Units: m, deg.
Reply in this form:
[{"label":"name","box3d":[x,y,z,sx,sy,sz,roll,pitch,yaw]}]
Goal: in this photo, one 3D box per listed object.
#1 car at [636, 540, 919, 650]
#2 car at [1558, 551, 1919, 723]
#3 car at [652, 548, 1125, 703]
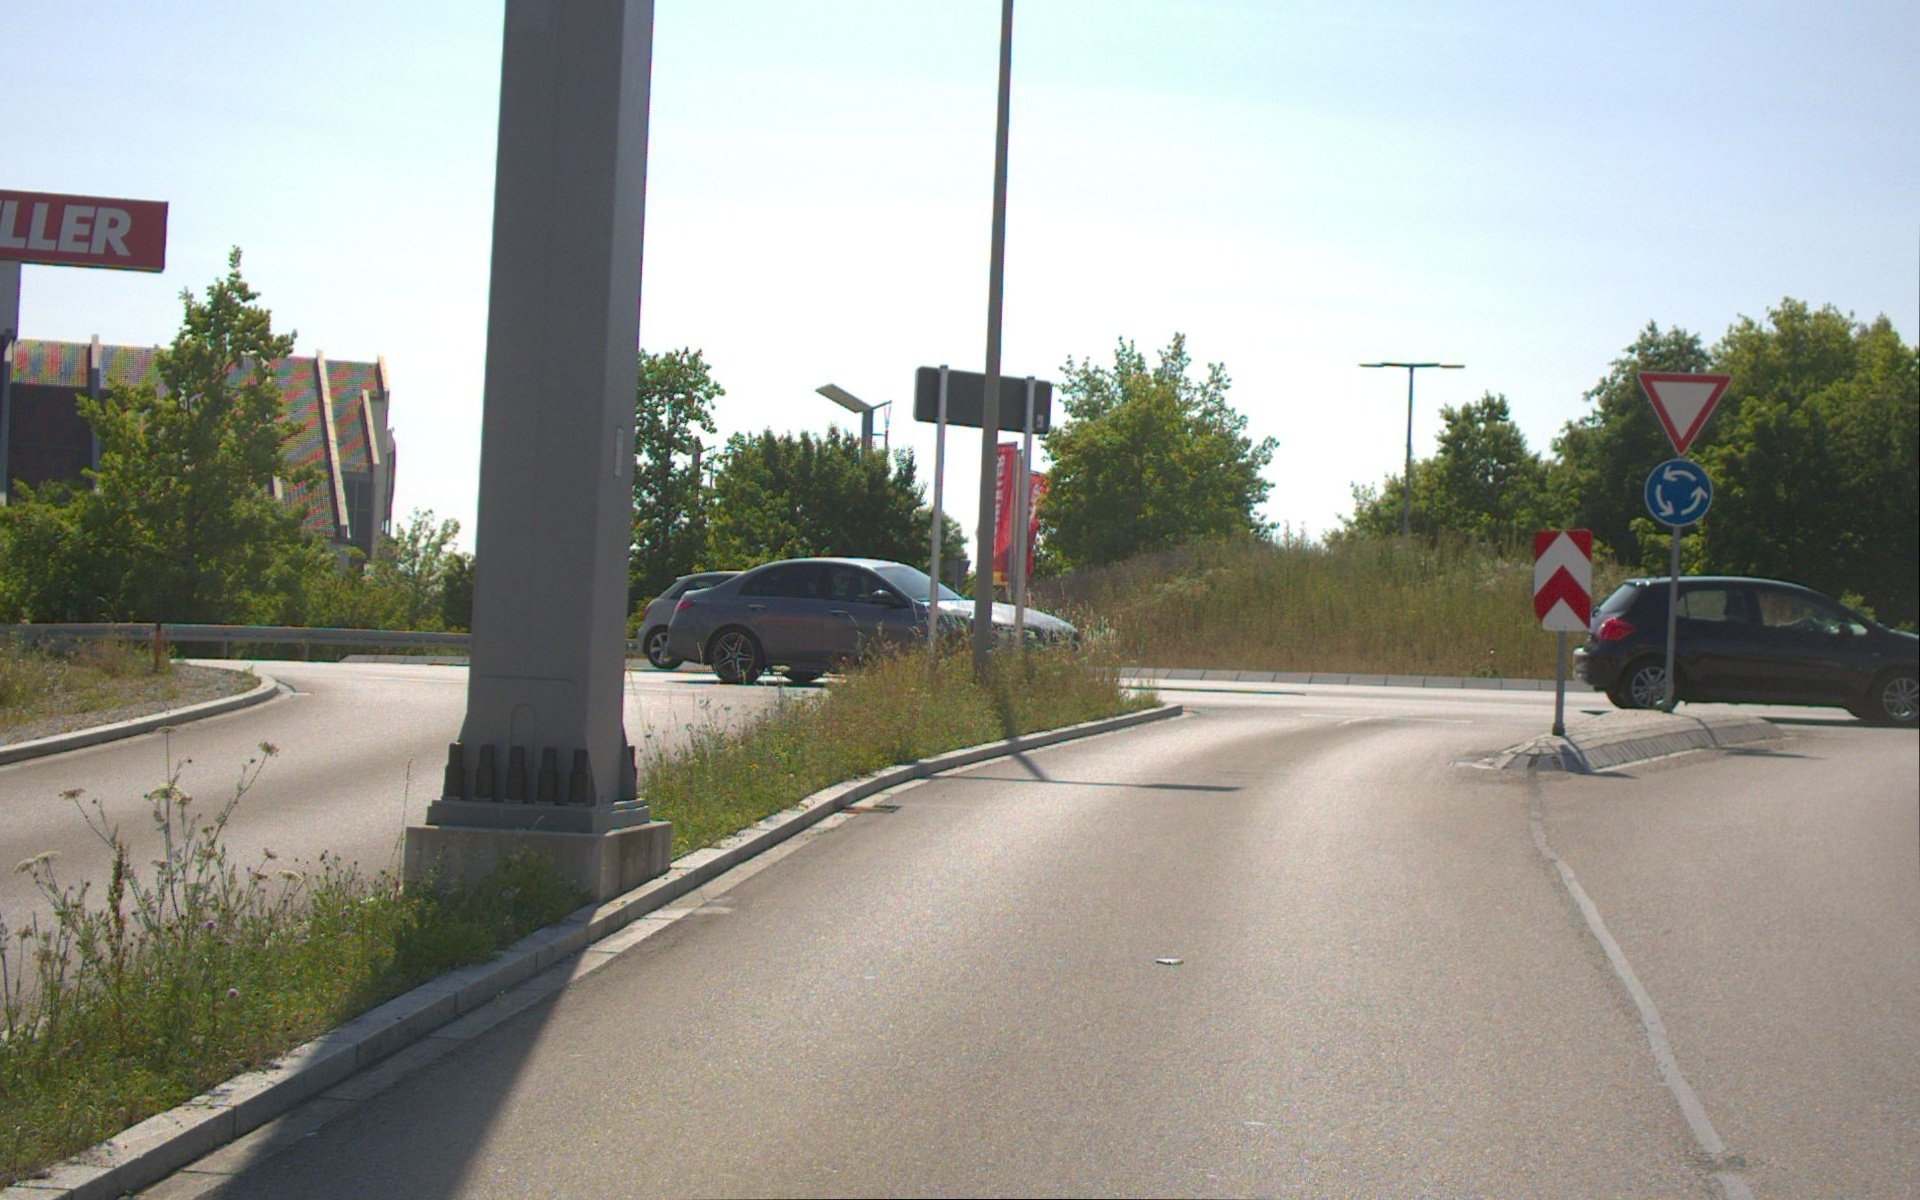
[{"label":"car","box3d":[-2.587,-0.079,48.549,3.764,1.347,1.528,3,0,34]},{"label":"car","box3d":[8.567,0.398,36.959,3.949,1.612,1.818,3,0,3]},{"label":"car","box3d":[-0.810,0.273,38.525,4.864,1.447,1.997,3,0,25]}]
